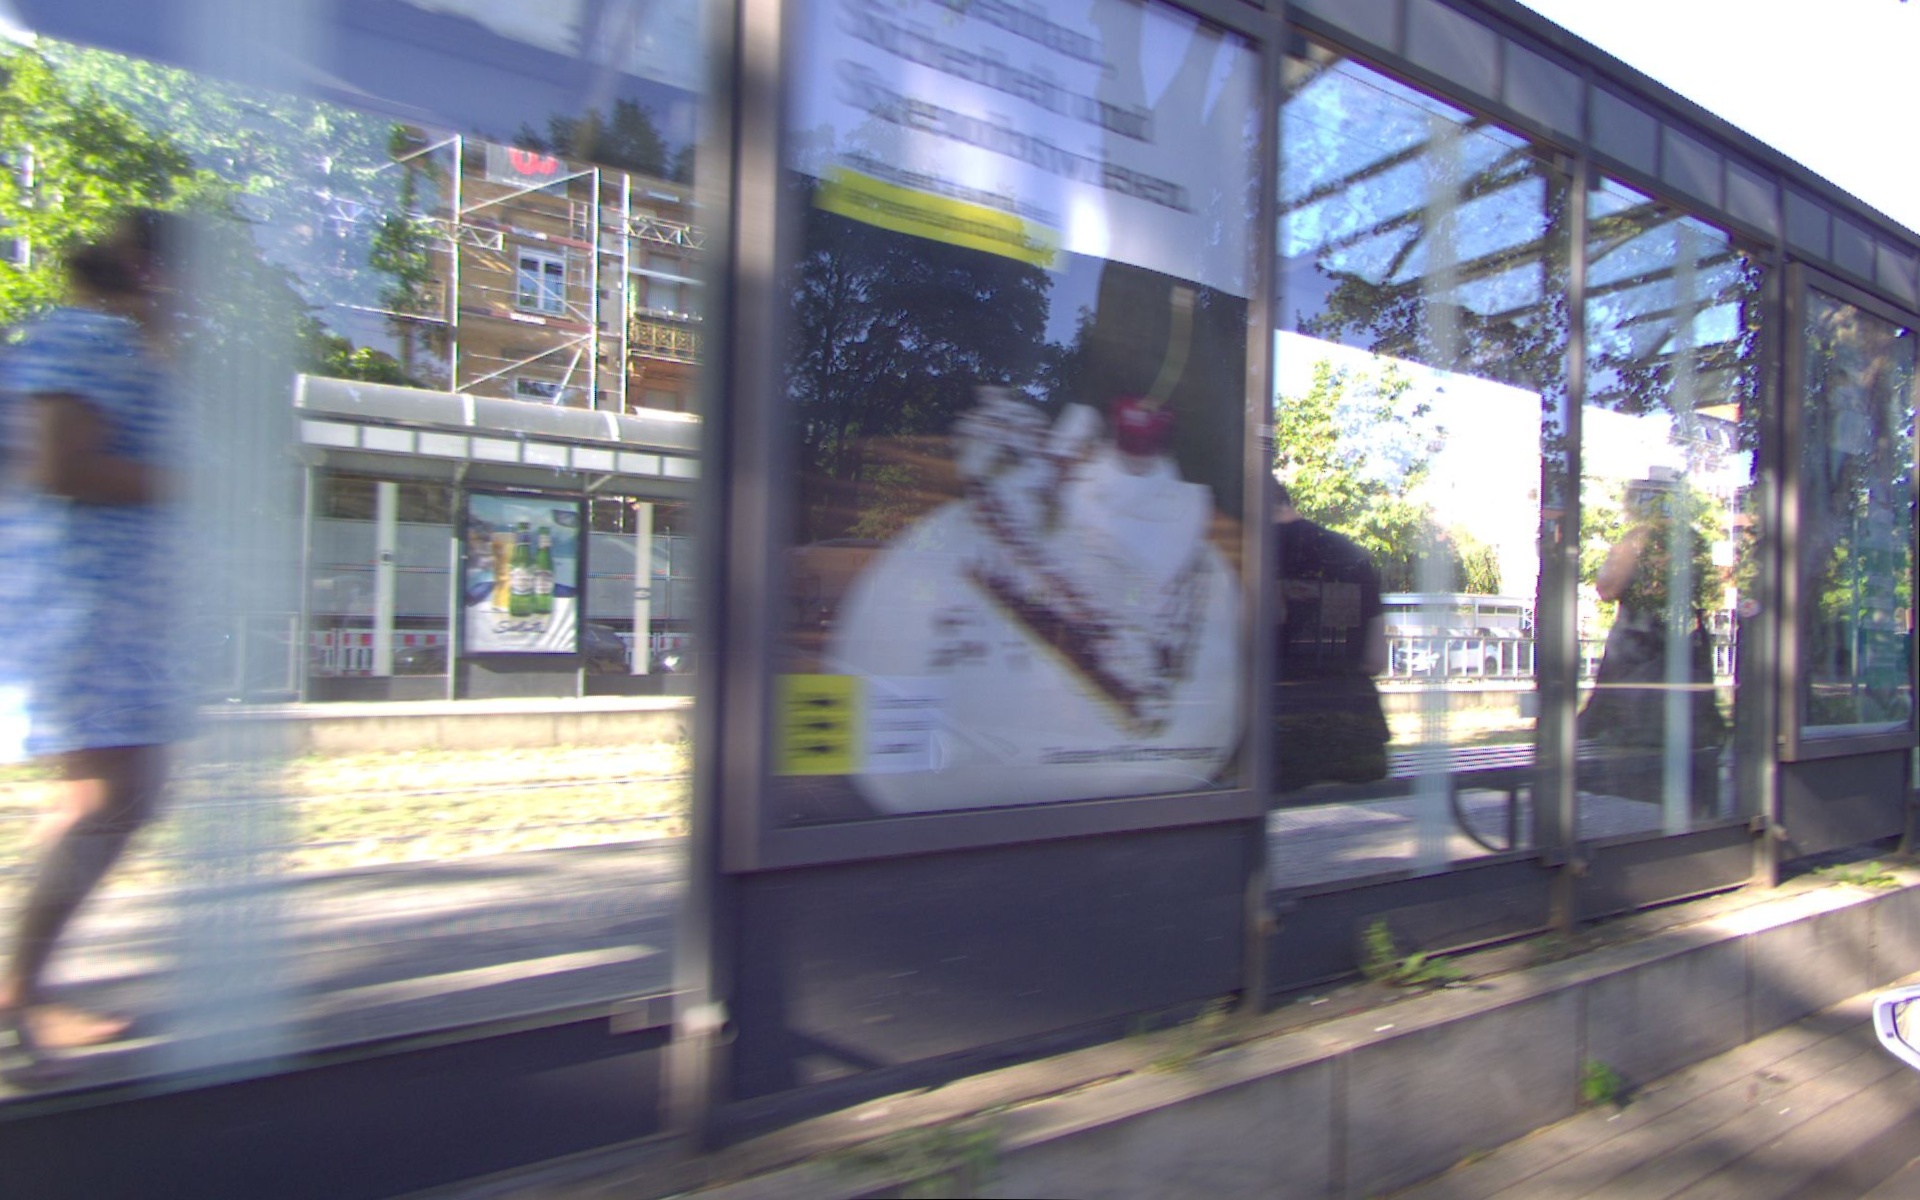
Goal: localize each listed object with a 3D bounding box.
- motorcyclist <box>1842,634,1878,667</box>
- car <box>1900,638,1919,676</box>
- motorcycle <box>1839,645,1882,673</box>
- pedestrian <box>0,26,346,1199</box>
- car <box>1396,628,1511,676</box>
[{"bbox_3d":[37.936,2.140,42.328,1.264,1.317,0.812,2,1,-35],"label":"motorcyclist"},{"bbox_3d":[48.329,2.854,49.436,3.978,1.830,1.856,2,0,-29],"label":"car"},{"bbox_3d":[38.065,2.487,42.429,2.378,1.087,0.812,2,0,-35],"label":"motorcycle"},{"bbox_3d":[-1.731,0.030,1.826,0.893,1.745,0.631,2,1,27],"label":"pedestrian"},{"bbox_3d":[18.334,1.928,37.328,4.012,1.607,1.715,2,0,-26],"label":"car"}]
